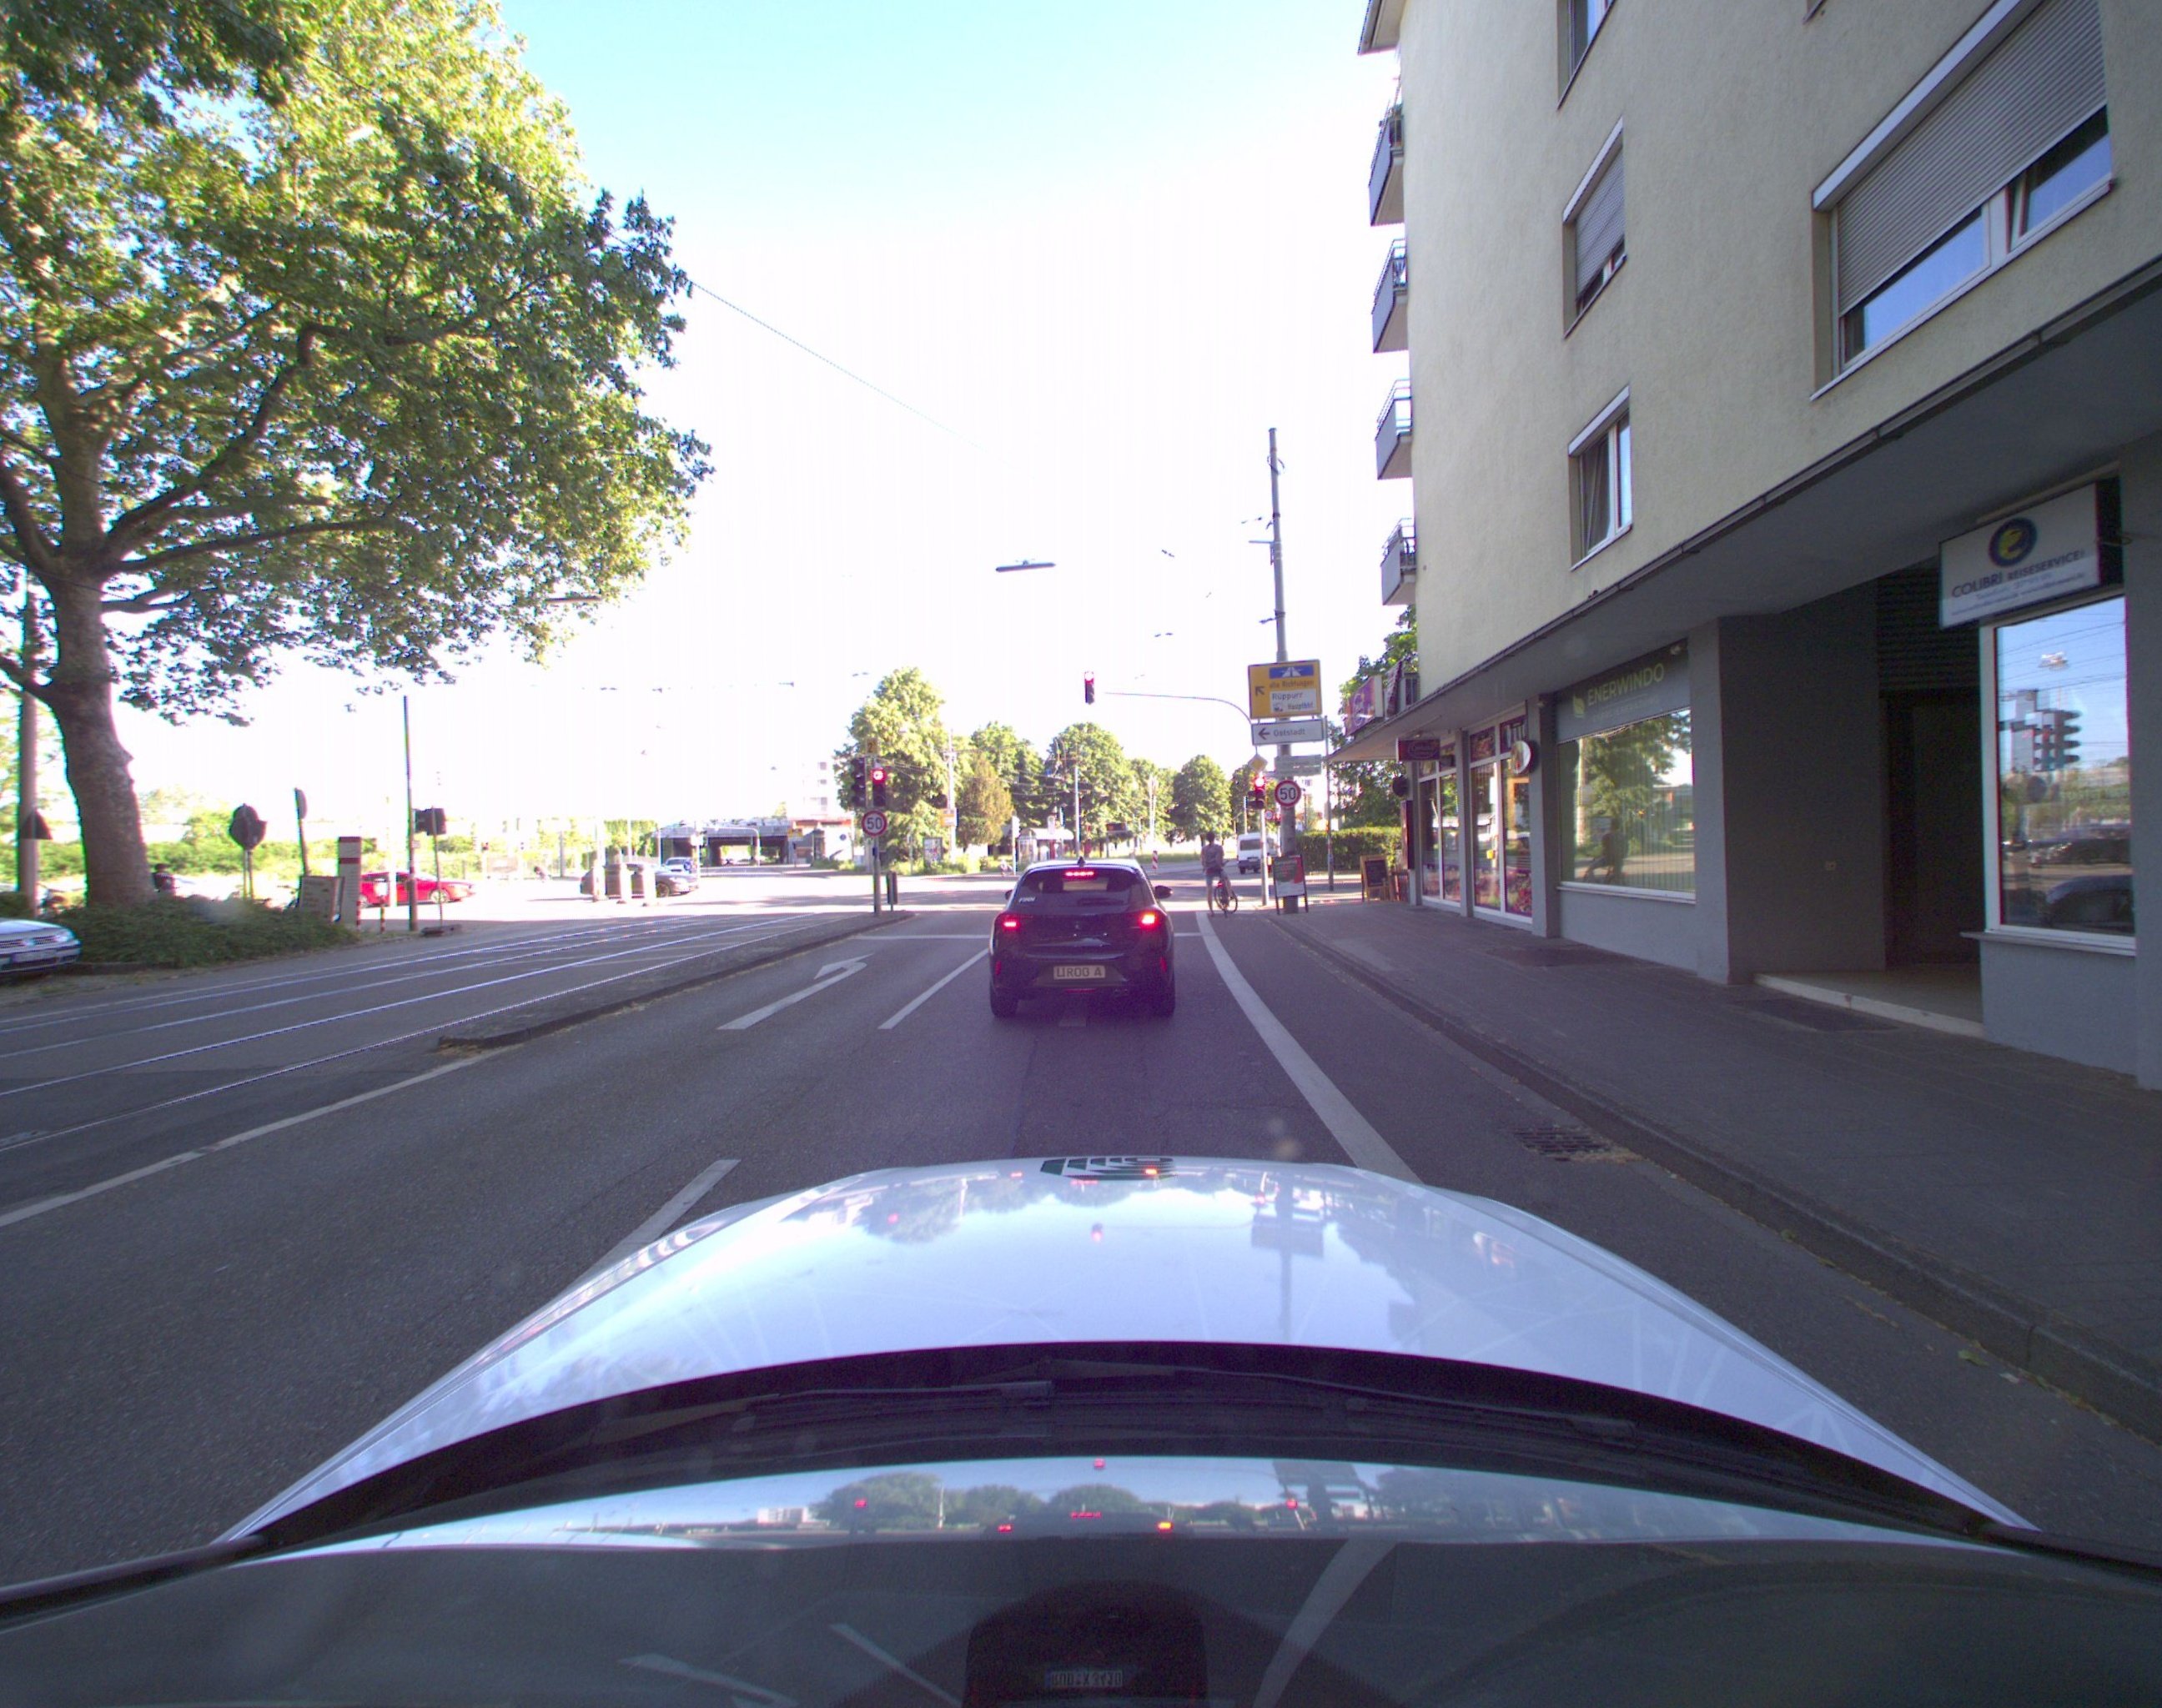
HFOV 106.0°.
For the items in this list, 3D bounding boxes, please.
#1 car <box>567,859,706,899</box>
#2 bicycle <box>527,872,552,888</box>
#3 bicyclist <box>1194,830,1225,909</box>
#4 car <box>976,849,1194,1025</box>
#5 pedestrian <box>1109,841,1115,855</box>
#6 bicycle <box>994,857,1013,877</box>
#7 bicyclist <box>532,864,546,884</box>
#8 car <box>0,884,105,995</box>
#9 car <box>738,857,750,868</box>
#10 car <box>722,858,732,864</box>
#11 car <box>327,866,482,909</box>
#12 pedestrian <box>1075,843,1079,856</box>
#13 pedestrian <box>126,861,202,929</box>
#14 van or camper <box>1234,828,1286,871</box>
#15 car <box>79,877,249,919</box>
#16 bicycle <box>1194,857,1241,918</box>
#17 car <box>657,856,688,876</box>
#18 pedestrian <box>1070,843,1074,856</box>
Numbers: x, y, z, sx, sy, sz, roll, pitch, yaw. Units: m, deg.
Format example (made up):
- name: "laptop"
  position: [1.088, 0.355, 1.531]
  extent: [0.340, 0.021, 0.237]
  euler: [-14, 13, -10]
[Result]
- name: "car"
  position: [-18.151, 0.994, 33.386]
  extent: [4.701, 1.473, 1.943]
  euler: [-1, 0, 7]
- name: "bicycle"
  position: [-34.303, 1.629, 51.591]
  extent: [0.524, 0.982, 1.576]
  euler: [-1, 0, -1]
- name: "bicyclist"
  position: [2.813, 0.331, 17.800]
  extent: [0.529, 1.692, 0.571]
  euler: [-2, 0, 19]
- name: "car"
  position: [0.096, 0.702, 8.932]
  extent: [1.833, 1.462, 3.985]
  euler: [-1, 0, 2]
- name: "pedestrian"
  position: [4.179, -0.746, 109.922]
  extent: [0.607, 1.872, 0.515]
  euler: [0, -1, -28]
- name: "bicycle"
  position: [-4.414, 0.730, 46.663]
  extent: [0.793, 1.064, 2.186]
  euler: [-2, 0, 2]
- name: "bicyclist"
  position: [-34.313, 1.276, 51.574]
  extent: [0.524, 1.222, 0.529]
  euler: [-1, 0, -1]
- name: "car"
  position: [-16.625, 1.195, 11.346]
  extent: [3.957, 1.453, 1.670]
  euler: [-1, 0, -1]
- name: "car"
  position: [-54.287, 1.390, 131.201]
  extent: [1.761, 1.684, 3.713]
  euler: [0, -1, -22]
- name: "car"
  position: [-78.876, 1.540, 181.422]
  extent: [1.587, 1.260, 3.397]
  euler: [-2, 0, -28]
- name: "car"
  position: [-27.953, 1.345, 33.858]
  extent: [4.494, 1.565, 2.008]
  euler: [-1, 0, -22]
- name: "pedestrian"
  position: [-0.571, -0.646, 118.226]
  extent: [0.602, 1.872, 0.519]
  euler: [0, -1, -4]
- name: "pedestrian"
  position: [-23.120, 1.015, 20.547]
  extent: [0.842, 1.647, 0.931]
  euler: [0, -1, 1]
- name: "van or camper"
  position: [10.206, -0.225, 46.233]
  extent: [2.011, 2.310, 4.565]
  euler: [-1, -1, 23]
- name: "car"
  position: [-37.608, 1.780, 33.552]
  extent: [4.196, 1.552, 1.984]
  euler: [0, -1, -20]
- name: "bicycle"
  position: [3.040, 0.714, 17.996]
  extent: [0.747, 1.235, 2.024]
  euler: [-2, 0, 16]
- name: "car"
  position: [-33.184, 0.977, 66.219]
  extent: [1.892, 1.585, 3.809]
  euler: [0, -1, -21]
- name: "pedestrian"
  position: [-1.281, -0.637, 118.653]
  extent: [0.602, 1.872, 0.519]
  euler: [0, -1, -4]
